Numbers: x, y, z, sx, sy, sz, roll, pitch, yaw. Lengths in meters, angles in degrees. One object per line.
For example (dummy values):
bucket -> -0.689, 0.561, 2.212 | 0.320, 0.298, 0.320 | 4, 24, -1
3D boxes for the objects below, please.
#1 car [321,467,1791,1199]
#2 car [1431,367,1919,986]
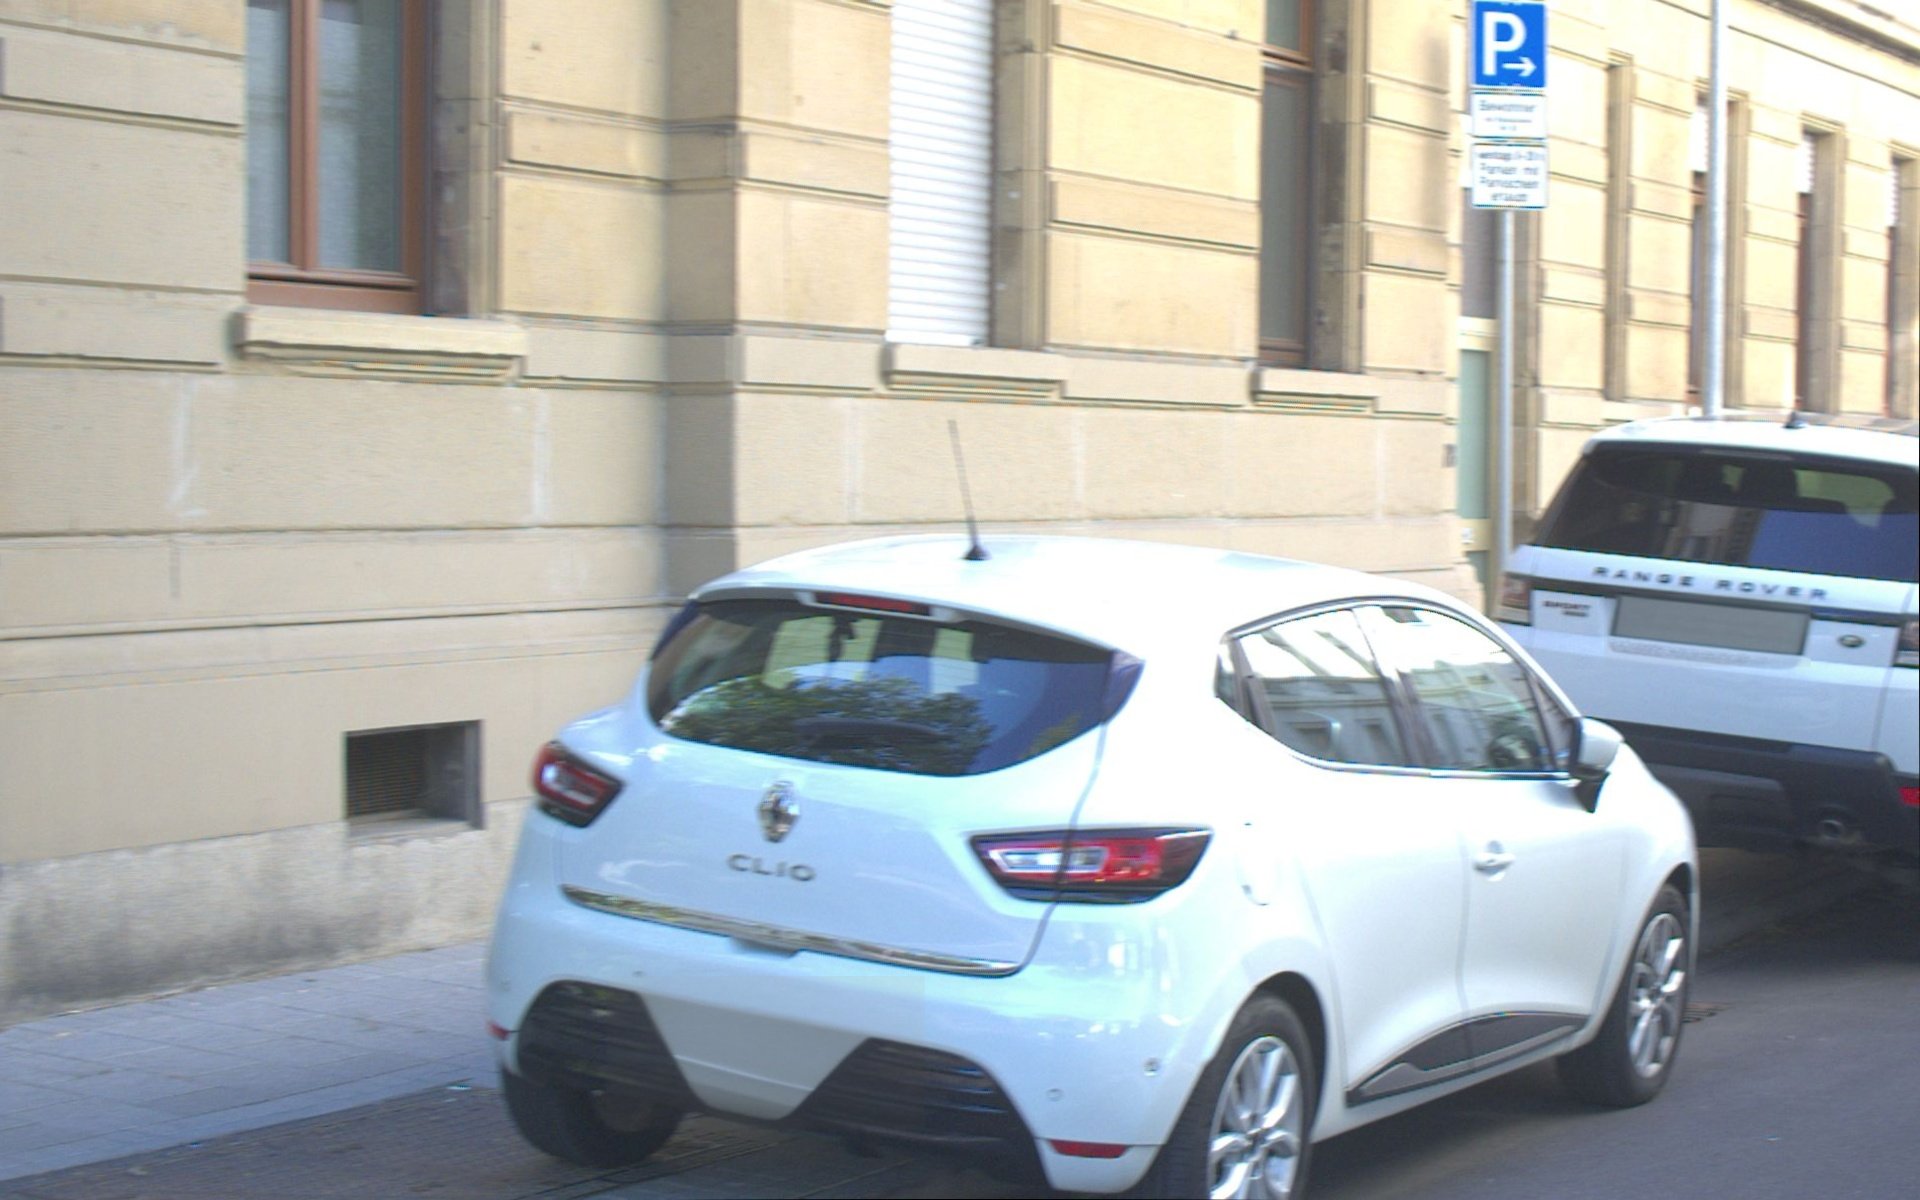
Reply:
car -> 0.493, 0.528, 8.259 | 1.870, 1.555, 3.936 | 4, 3, 29
car -> 3.685, 0.178, 13.435 | 2.025, 2.006, 4.535 | 1, 2, 31
